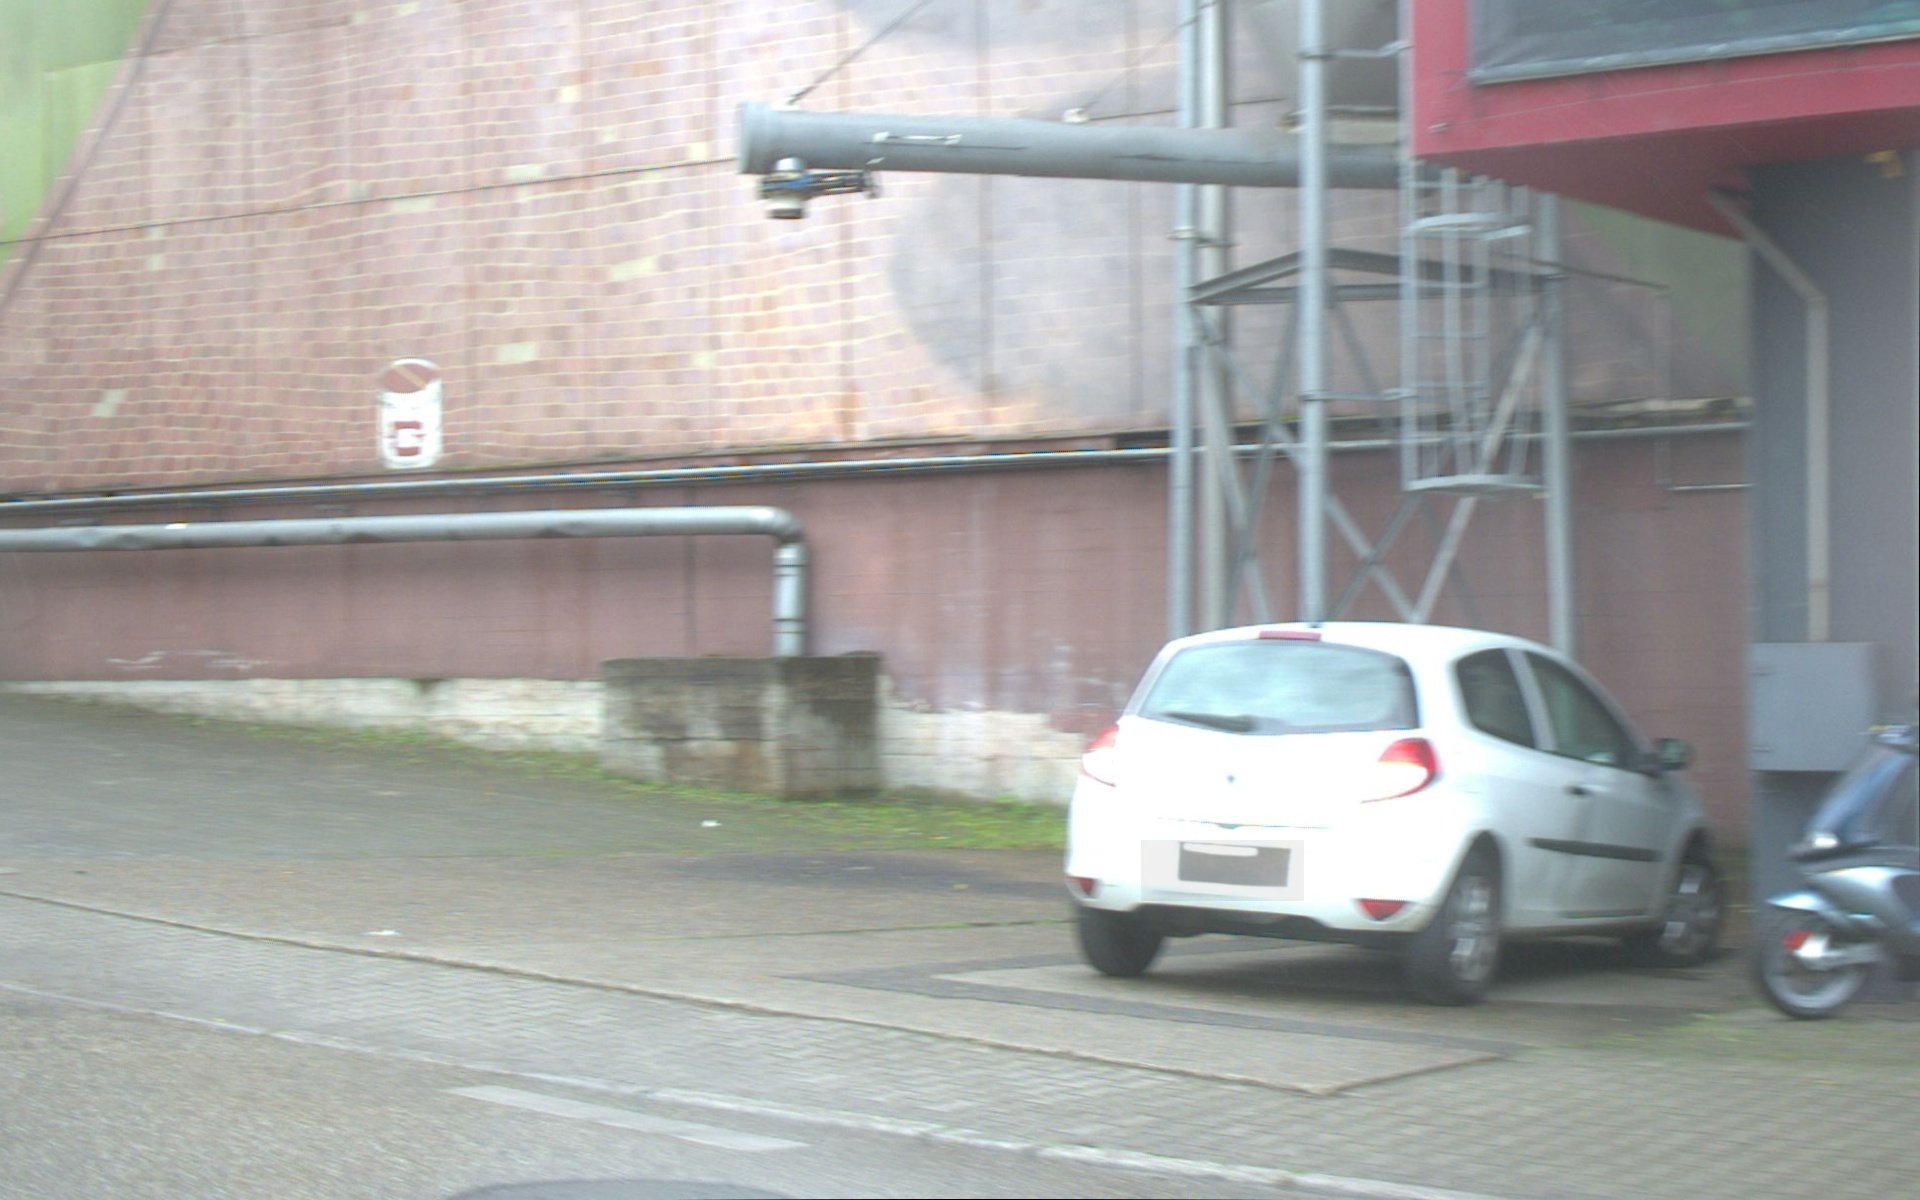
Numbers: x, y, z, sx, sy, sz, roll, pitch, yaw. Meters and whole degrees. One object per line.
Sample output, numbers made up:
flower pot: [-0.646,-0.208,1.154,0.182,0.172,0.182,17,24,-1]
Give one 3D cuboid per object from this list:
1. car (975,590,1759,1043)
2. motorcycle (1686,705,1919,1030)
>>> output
car: [1.919,0.805,15.038,1.872,1.527,3.986,0,3,32]
motorcycle: [3.430,0.977,12.661,1.420,1.157,0.451,0,-1,23]
